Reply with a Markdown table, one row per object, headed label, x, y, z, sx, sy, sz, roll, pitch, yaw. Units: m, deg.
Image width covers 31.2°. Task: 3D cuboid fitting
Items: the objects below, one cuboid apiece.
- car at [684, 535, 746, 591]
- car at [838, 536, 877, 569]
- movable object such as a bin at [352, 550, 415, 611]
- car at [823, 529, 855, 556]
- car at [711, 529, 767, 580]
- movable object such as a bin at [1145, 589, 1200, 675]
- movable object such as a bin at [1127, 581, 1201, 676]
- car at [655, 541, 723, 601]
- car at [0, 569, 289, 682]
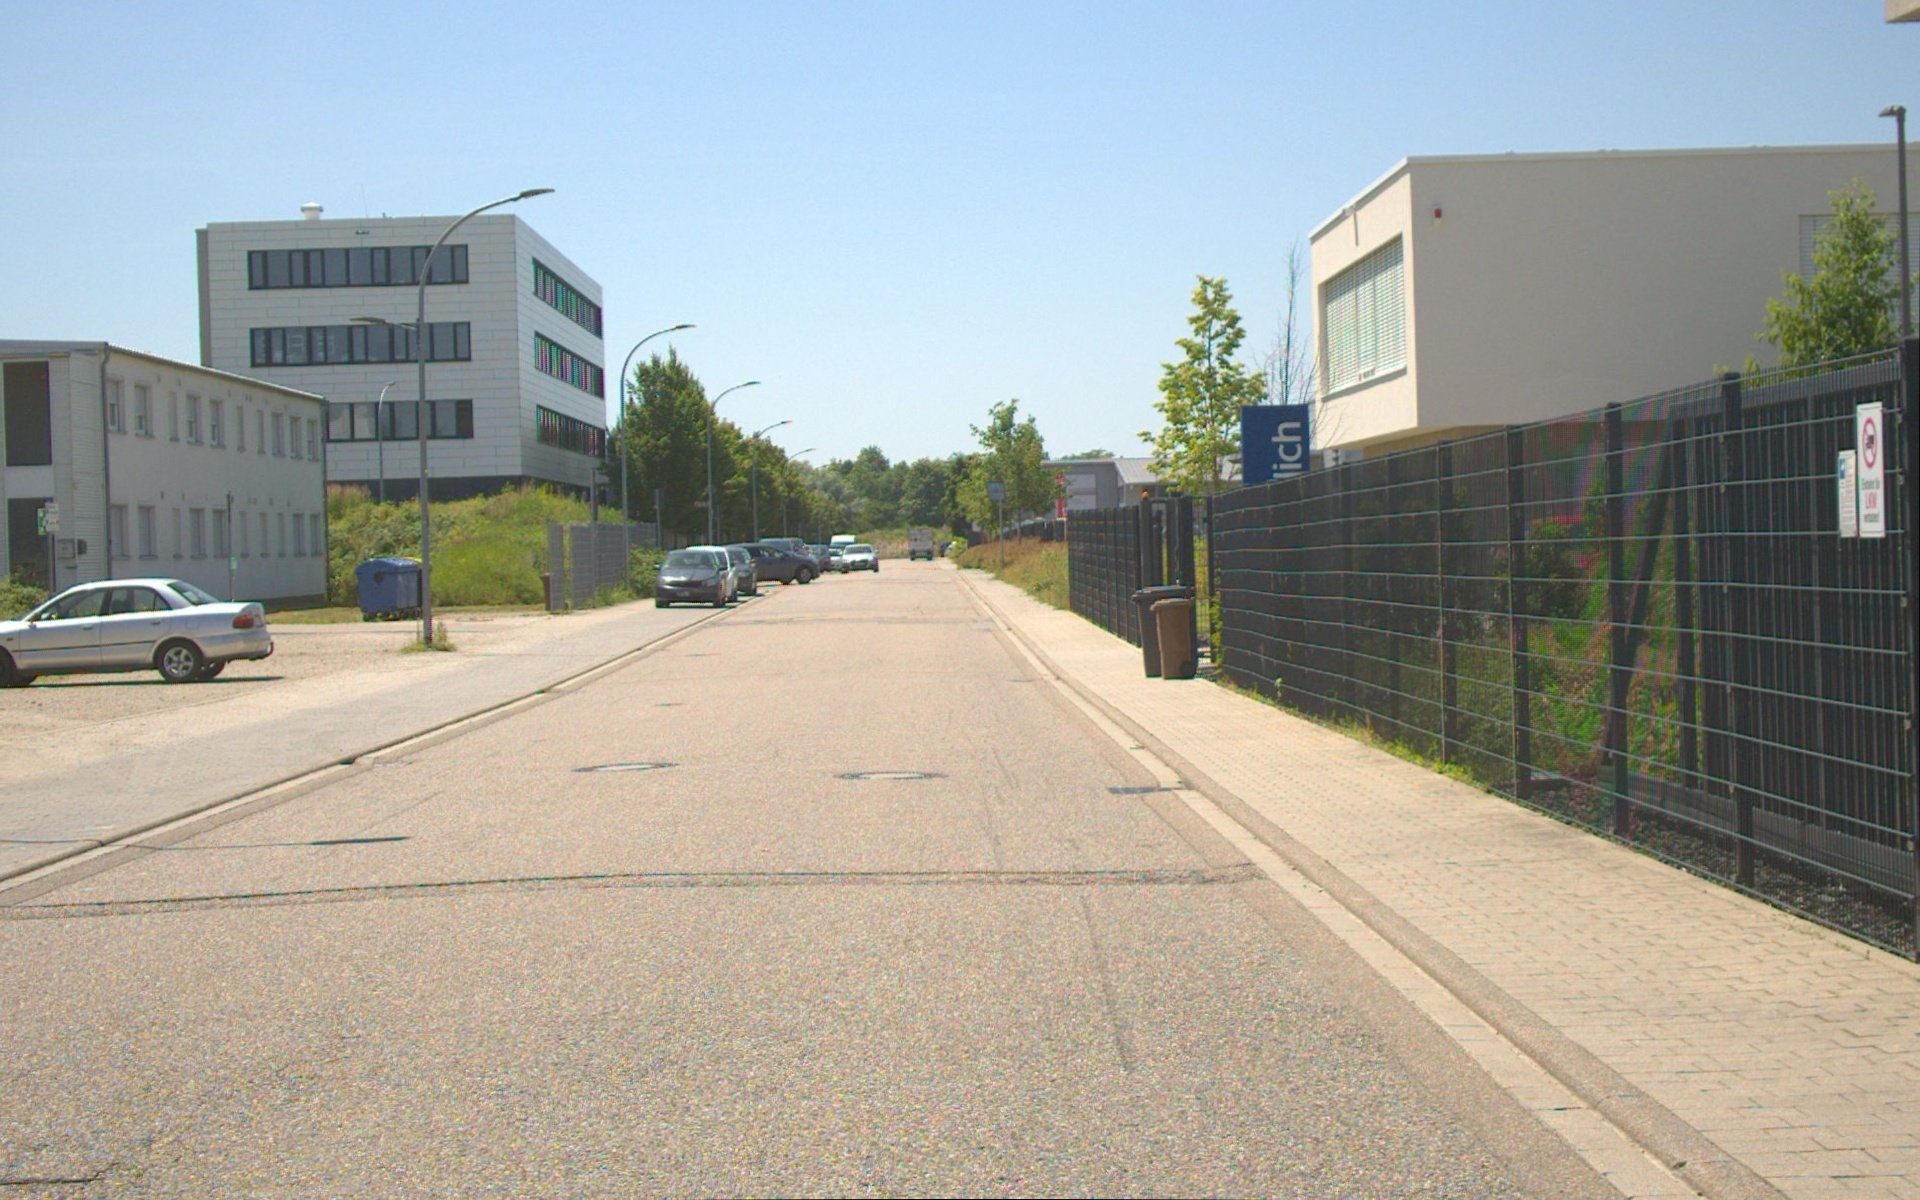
| label | x | y | z | sx | sy | sz | roll | pitch | yaw |
| --- | --- | --- | --- | --- | --- | --- | --- | --- | --- |
| car | -6.740 | -1.024 | 94.764 | 1.466 | 1.484 | 3.207 | -1 | 1 | 0 |
| car | -5.077 | -2.381 | 171.000 | 1.804 | 1.551 | 4.000 | -2 | 1 | -1 |
| movable object such as a bin | -13.671 | -0.475 | 81.561 | 1.285 | 1.407 | 1.807 | -1 | 1 | -4 |
| car | -7.391 | -3.505 | 209.800 | 1.804 | 1.551 | 4.000 | -2 | 1 | -1 |
| car | -6.669 | -1.386 | 103.981 | 1.466 | 1.484 | 3.207 | -1 | 1 | 0 |
| movable object such as a bin | 2.474 | 0.370 | 40.066 | 0.552 | 0.925 | 0.522 | -6 | 2 | 4 |
| movable object such as a bin | 2.436 | 0.335 | 40.956 | 0.779 | 1.016 | 0.665 | -6 | 2 | 4 |
| car | -6.912 | -0.753 | 87.848 | 1.466 | 1.484 | 3.207 | -1 | 1 | 0 |
| car | -11.446 | 0.343 | 46.603 | 4.277 | 1.360 | 1.898 | -2 | 1 | 0 |
